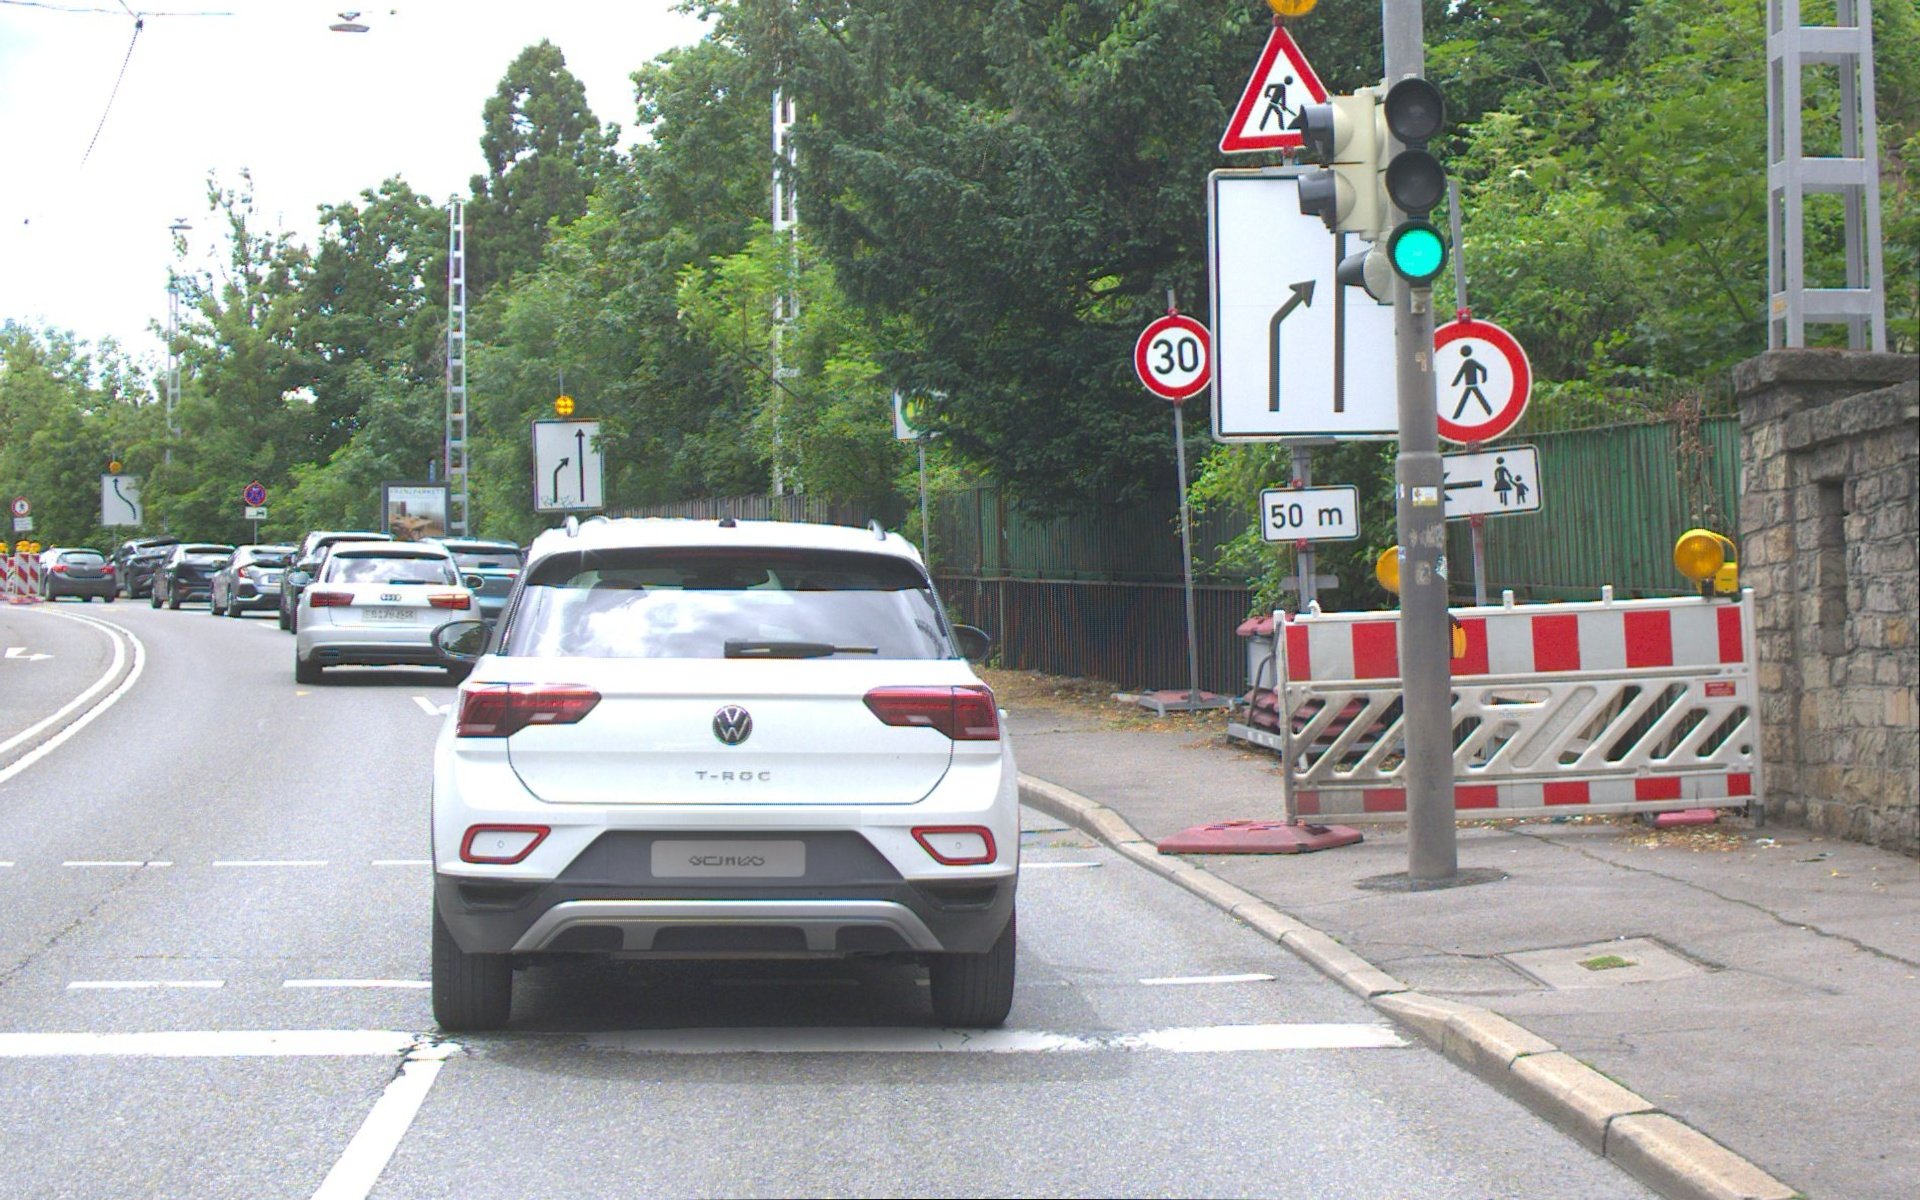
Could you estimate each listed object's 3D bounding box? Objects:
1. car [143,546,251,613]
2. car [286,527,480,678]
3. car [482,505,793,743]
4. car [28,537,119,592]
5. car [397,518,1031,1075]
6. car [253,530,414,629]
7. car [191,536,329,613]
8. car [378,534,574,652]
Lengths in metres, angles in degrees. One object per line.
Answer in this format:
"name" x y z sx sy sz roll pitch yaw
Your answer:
"car" -17.115 -0.440 77.022 1.993 1.445 4.152 -1 0 -18
"car" -6.049 0.019 35.736 1.757 1.466 3.796 1 0 -13
"car" -2.442 0.158 25.245 1.757 1.604 3.796 1 0 -13
"car" -23.955 -0.956 92.821 1.780 1.449 4.001 0 0 -23
"car" -0.842 0.550 11.550 1.757 1.550 3.796 1 0 -5
"car" -10.234 -0.356 55.943 1.993 1.551 4.152 0 1 -19
"car" -13.724 -0.492 67.233 1.993 1.445 4.151 -1 0 -21
"car" -6.331 -0.080 44.619 1.993 1.409 4.151 -1 0 -15
